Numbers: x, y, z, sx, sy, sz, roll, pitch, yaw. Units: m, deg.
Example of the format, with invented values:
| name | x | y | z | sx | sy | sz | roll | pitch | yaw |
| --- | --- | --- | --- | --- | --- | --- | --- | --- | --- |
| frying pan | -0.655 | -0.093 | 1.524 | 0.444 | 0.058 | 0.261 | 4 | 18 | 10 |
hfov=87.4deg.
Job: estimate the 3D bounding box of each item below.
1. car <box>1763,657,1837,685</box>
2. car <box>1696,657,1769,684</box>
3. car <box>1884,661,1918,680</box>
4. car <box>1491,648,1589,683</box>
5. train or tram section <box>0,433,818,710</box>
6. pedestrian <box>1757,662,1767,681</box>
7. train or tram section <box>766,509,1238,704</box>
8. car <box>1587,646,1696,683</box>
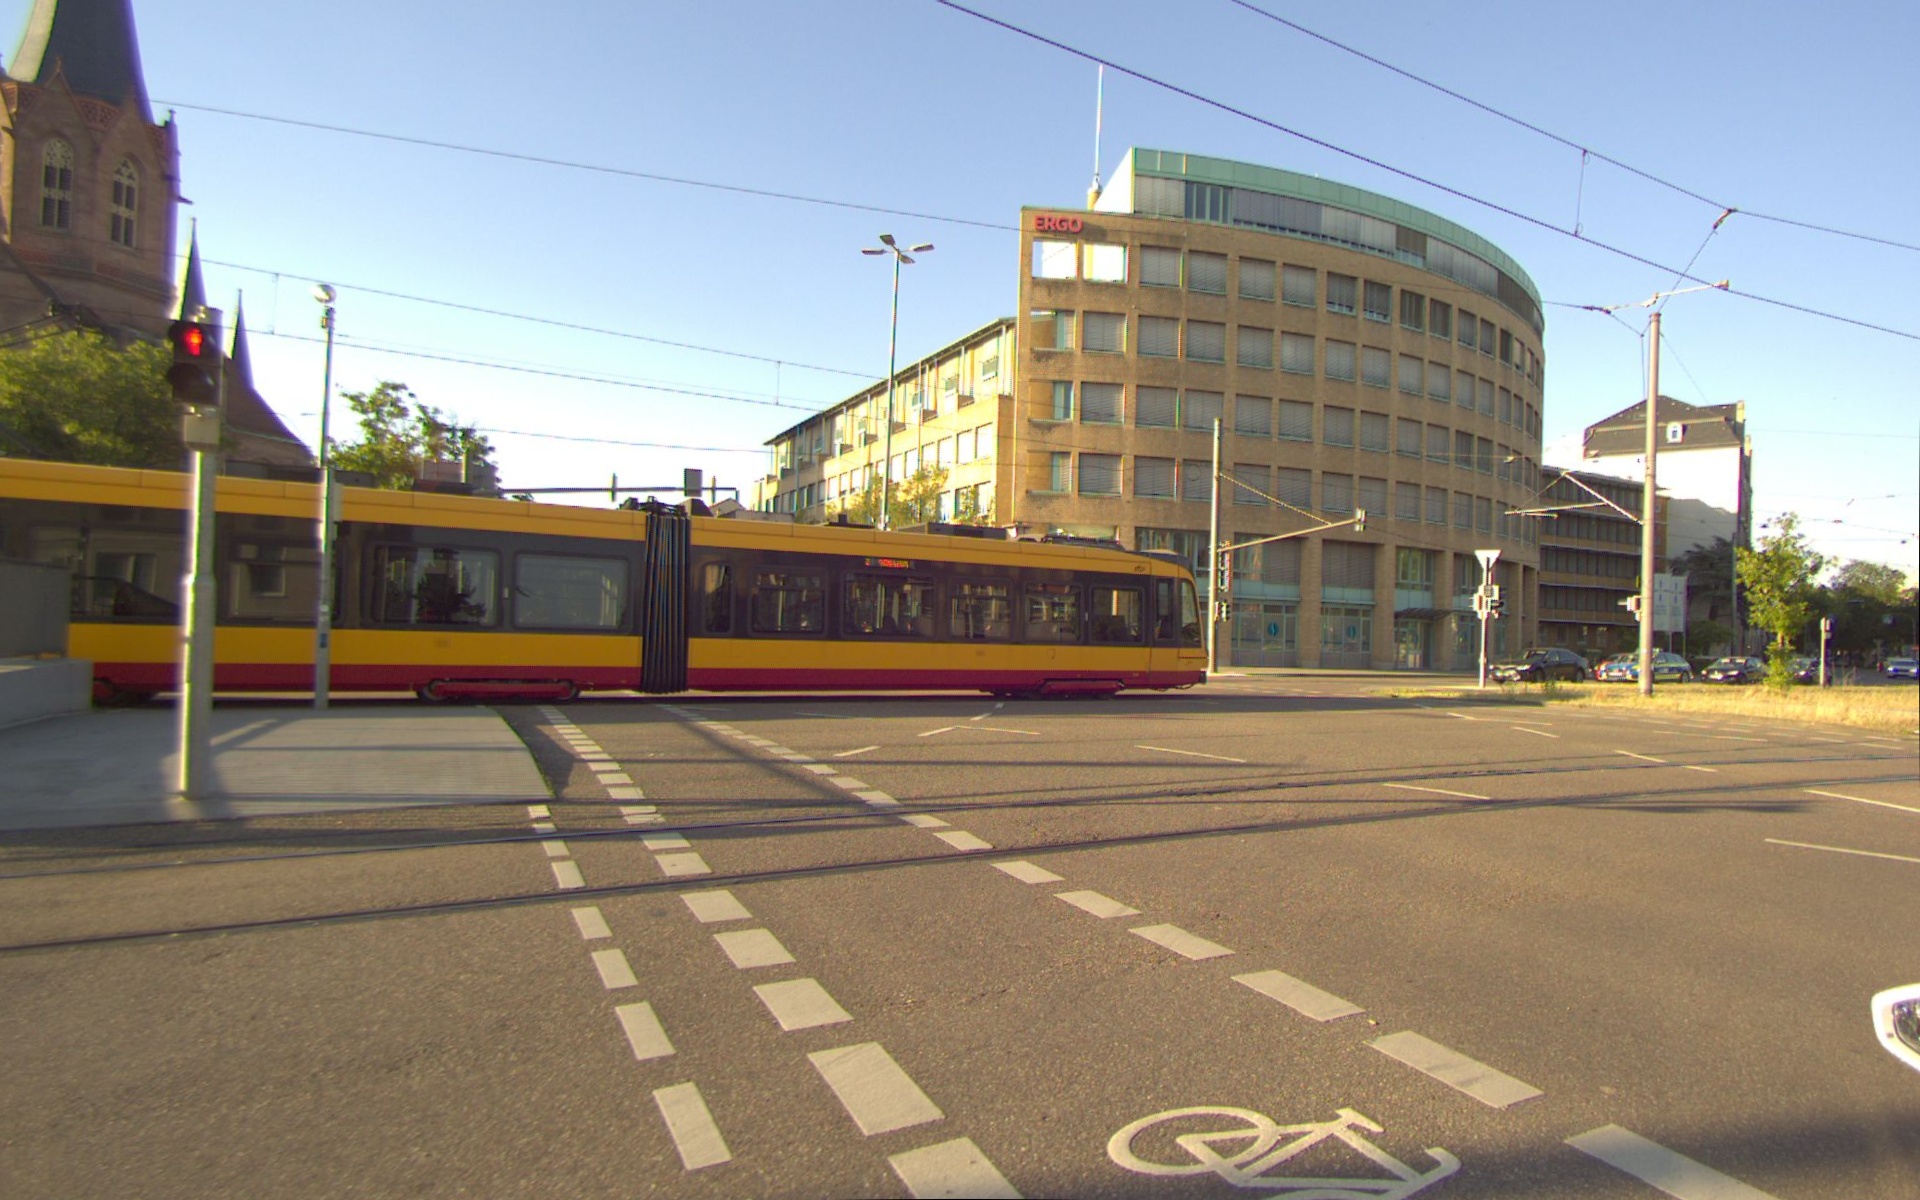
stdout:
| name | x | y | z | sx | sy | sz | roll | pitch | yaw |
| --- | --- | --- | --- | --- | --- | --- | --- | --- | --- |
| car | 42.942 | 3.623 | 51.326 | 3.693 | 1.298 | 1.640 | 2 | -1 | -28 |
| car | 37.029 | 3.376 | 48.161 | 3.556 | 1.169 | 1.513 | 2 | -1 | -30 |
| car | 78.817 | 5.878 | 84.123 | 4.279 | 1.502 | 1.754 | 3 | -2 | -43 |
| car | 23.506 | 2.653 | 40.719 | 3.742 | 1.299 | 1.718 | 3 | -1 | -28 |
| train or tram section | -9.033 | -0.181 | 16.473 | 13.090 | 3.582 | 2.761 | 3 | -1 | -29 |
| pedestrian | 63.415 | 5.640 | 79.428 | 0.479 | 1.449 | 0.412 | 2 | -1 | -28 |
| train or tram section | 1.233 | 0.329 | 22.151 | 10.442 | 3.582 | 2.761 | 3 | -1 | -29 |
| car | 30.078 | 2.836 | 44.308 | 4.718 | 1.500 | 1.883 | 2 | -1 | -26 |
